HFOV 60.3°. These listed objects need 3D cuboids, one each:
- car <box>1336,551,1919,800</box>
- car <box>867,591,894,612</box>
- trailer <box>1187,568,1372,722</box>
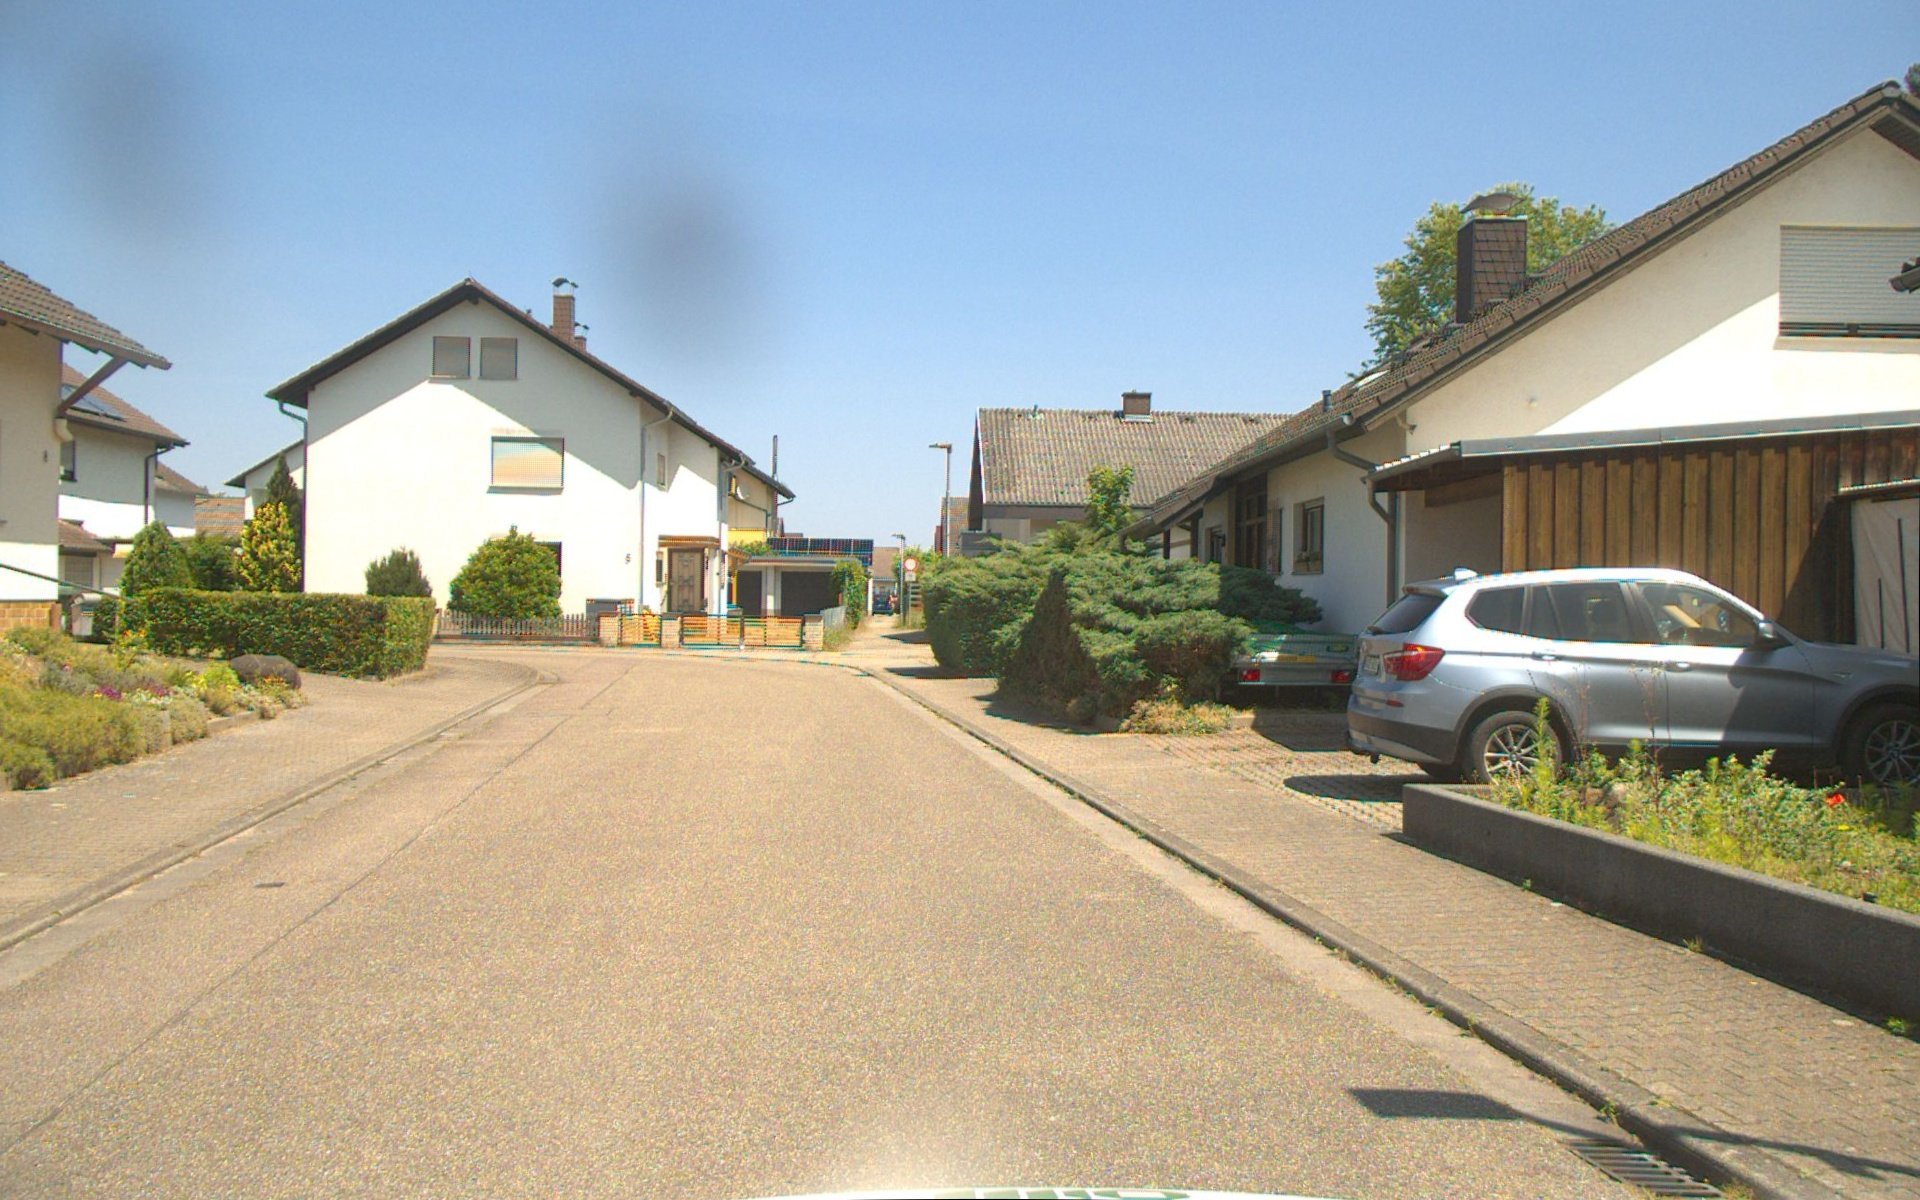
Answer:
[{"bbox_3d":[5.352,0.536,12.731,4.531,1.732,1.710,-1,0,1],"label":"car"},{"bbox_3d":[-6.602,0.131,138.060,2.149,1.731,3.806,0,0,-1],"label":"car"},{"bbox_3d":[3.820,0.481,20.264,1.555,1.701,3.296,-1,1,-1],"label":"trailer"}]
